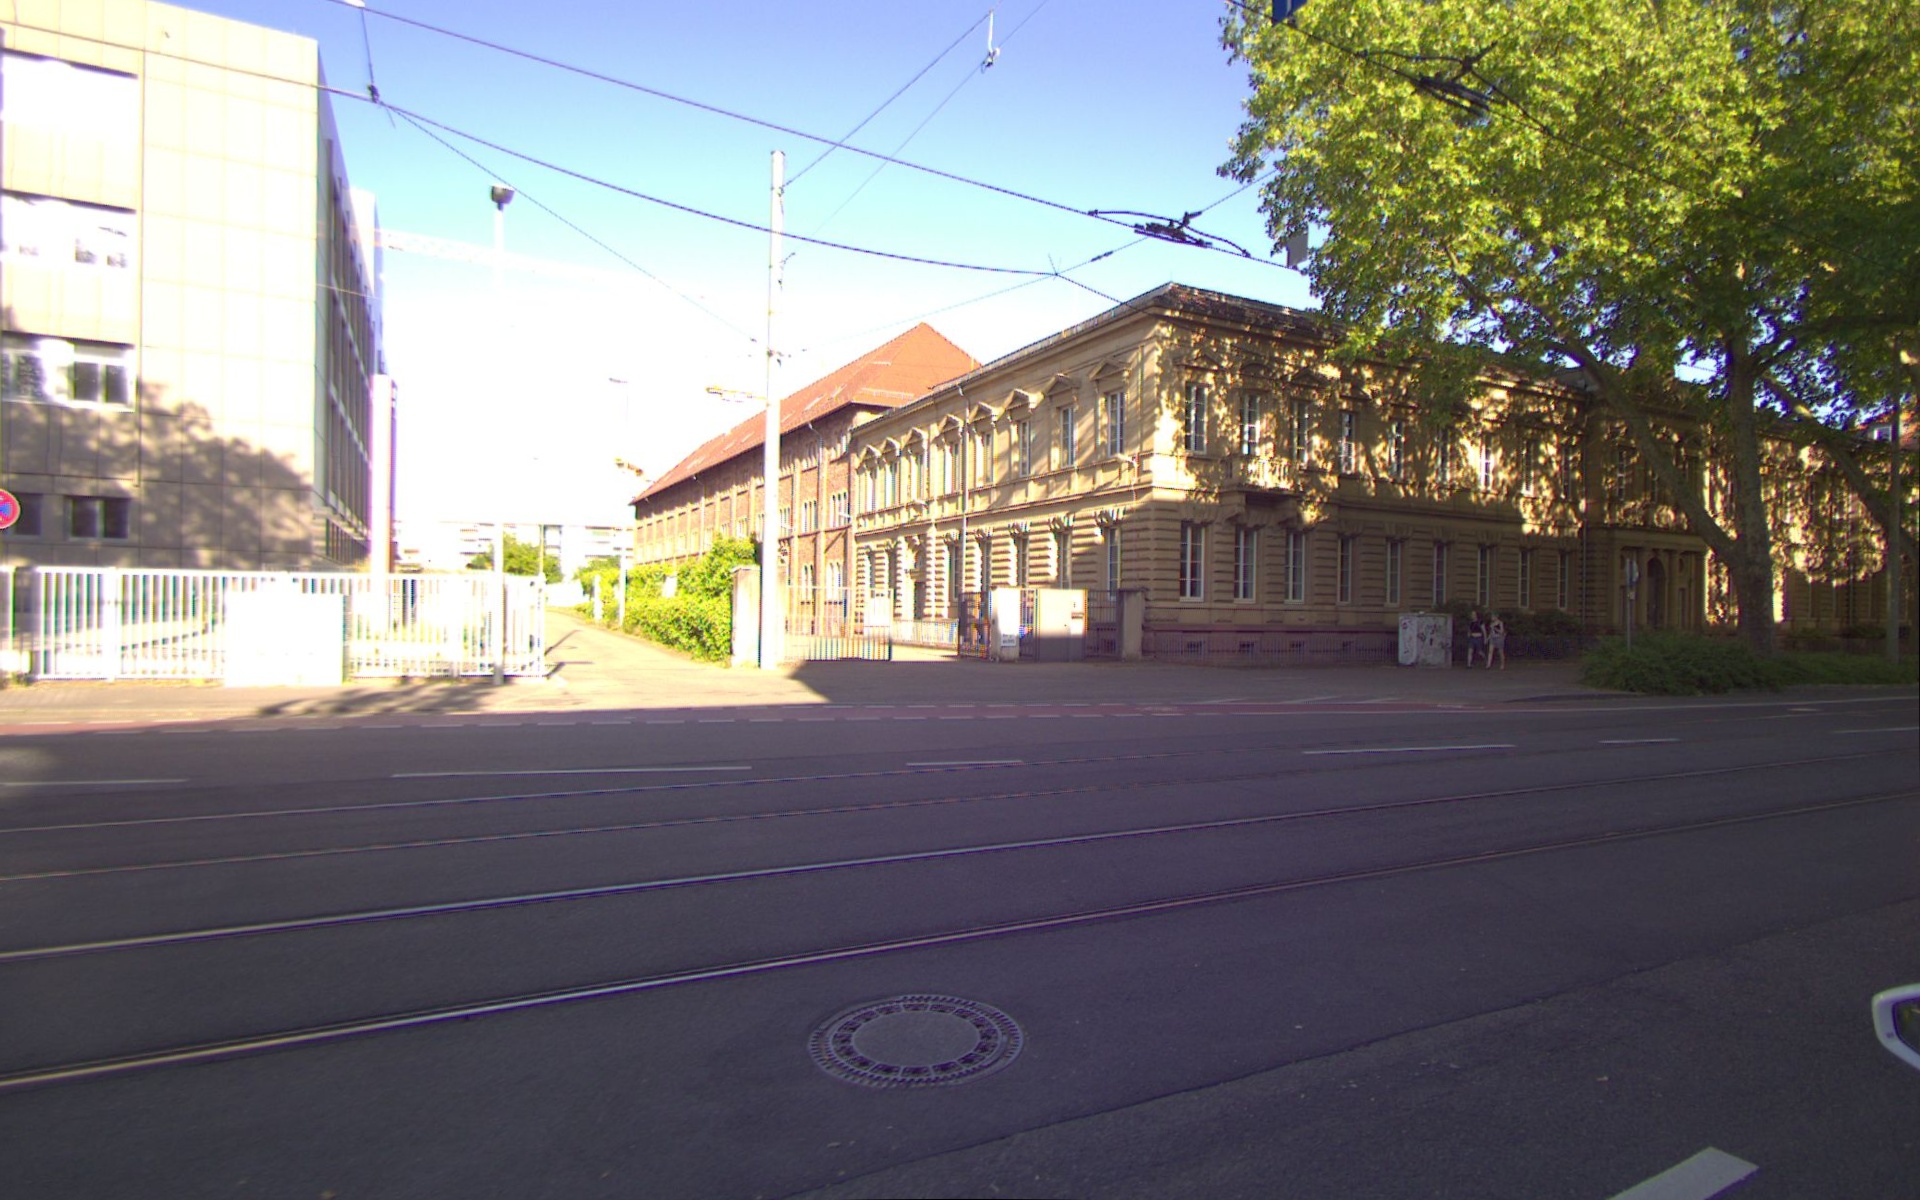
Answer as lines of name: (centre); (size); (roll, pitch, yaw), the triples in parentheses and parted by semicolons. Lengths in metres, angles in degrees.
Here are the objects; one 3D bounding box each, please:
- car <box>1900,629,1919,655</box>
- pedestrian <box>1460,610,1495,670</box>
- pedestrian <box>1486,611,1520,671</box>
car: (58.582, 2.517, 59.618); (1.672, 1.437, 3.762); (-2, 0, -27)
pedestrian: (15.274, 1.166, 29.648); (0.655, 1.720, 0.666); (1, 0, -36)
pedestrian: (15.745, 1.183, 29.133); (0.650, 1.720, 0.629); (1, 0, -36)
